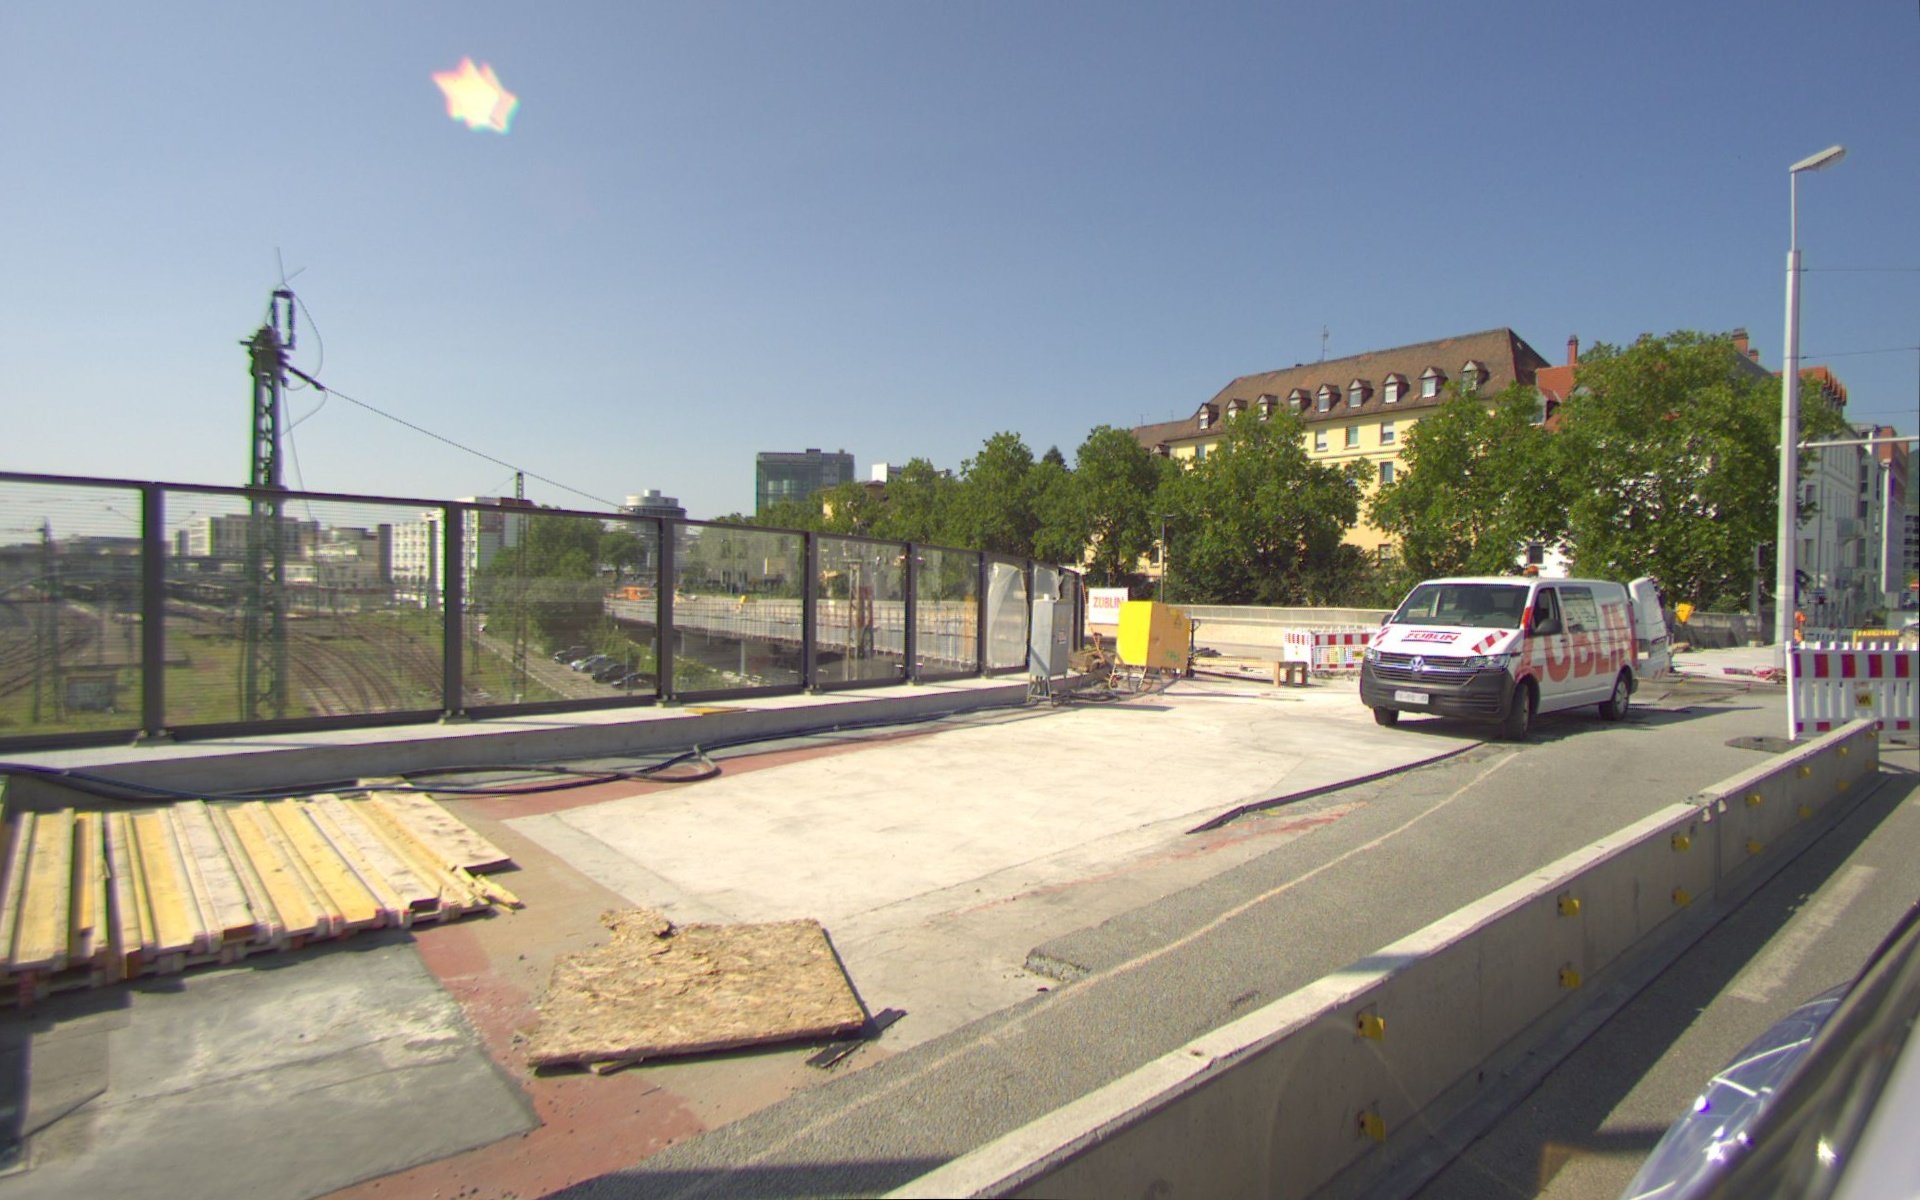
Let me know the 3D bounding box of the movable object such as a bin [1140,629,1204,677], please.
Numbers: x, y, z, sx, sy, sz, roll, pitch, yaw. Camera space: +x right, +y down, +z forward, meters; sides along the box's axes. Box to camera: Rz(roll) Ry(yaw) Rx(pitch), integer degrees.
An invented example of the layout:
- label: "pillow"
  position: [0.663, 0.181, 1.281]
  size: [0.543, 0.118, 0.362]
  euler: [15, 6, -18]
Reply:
- label: "movable object such as a bin"
  position: [4.327, 1.084, 20.703]
  size: [1.083, 0.853, 0.757]
  euler: [4, 0, -1]

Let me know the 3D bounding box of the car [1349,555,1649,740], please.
- label: "car"
  position: [7.331, 0.530, 13.534]
  size: [4.803, 2.059, 1.882]
  euler: [0, 0, -40]

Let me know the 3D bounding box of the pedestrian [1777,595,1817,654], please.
- label: "pedestrian"
  position: [27.016, 0.783, 32.658]
  size: [0.849, 1.817, 0.821]
  euler: [1, 2, -42]

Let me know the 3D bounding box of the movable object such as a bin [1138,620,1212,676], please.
- label: "movable object such as a bin"
  position: [4.692, 1.064, 22.241]
  size: [0.595, 1.144, 2.045]
  euler: [-2, -2, -18]
